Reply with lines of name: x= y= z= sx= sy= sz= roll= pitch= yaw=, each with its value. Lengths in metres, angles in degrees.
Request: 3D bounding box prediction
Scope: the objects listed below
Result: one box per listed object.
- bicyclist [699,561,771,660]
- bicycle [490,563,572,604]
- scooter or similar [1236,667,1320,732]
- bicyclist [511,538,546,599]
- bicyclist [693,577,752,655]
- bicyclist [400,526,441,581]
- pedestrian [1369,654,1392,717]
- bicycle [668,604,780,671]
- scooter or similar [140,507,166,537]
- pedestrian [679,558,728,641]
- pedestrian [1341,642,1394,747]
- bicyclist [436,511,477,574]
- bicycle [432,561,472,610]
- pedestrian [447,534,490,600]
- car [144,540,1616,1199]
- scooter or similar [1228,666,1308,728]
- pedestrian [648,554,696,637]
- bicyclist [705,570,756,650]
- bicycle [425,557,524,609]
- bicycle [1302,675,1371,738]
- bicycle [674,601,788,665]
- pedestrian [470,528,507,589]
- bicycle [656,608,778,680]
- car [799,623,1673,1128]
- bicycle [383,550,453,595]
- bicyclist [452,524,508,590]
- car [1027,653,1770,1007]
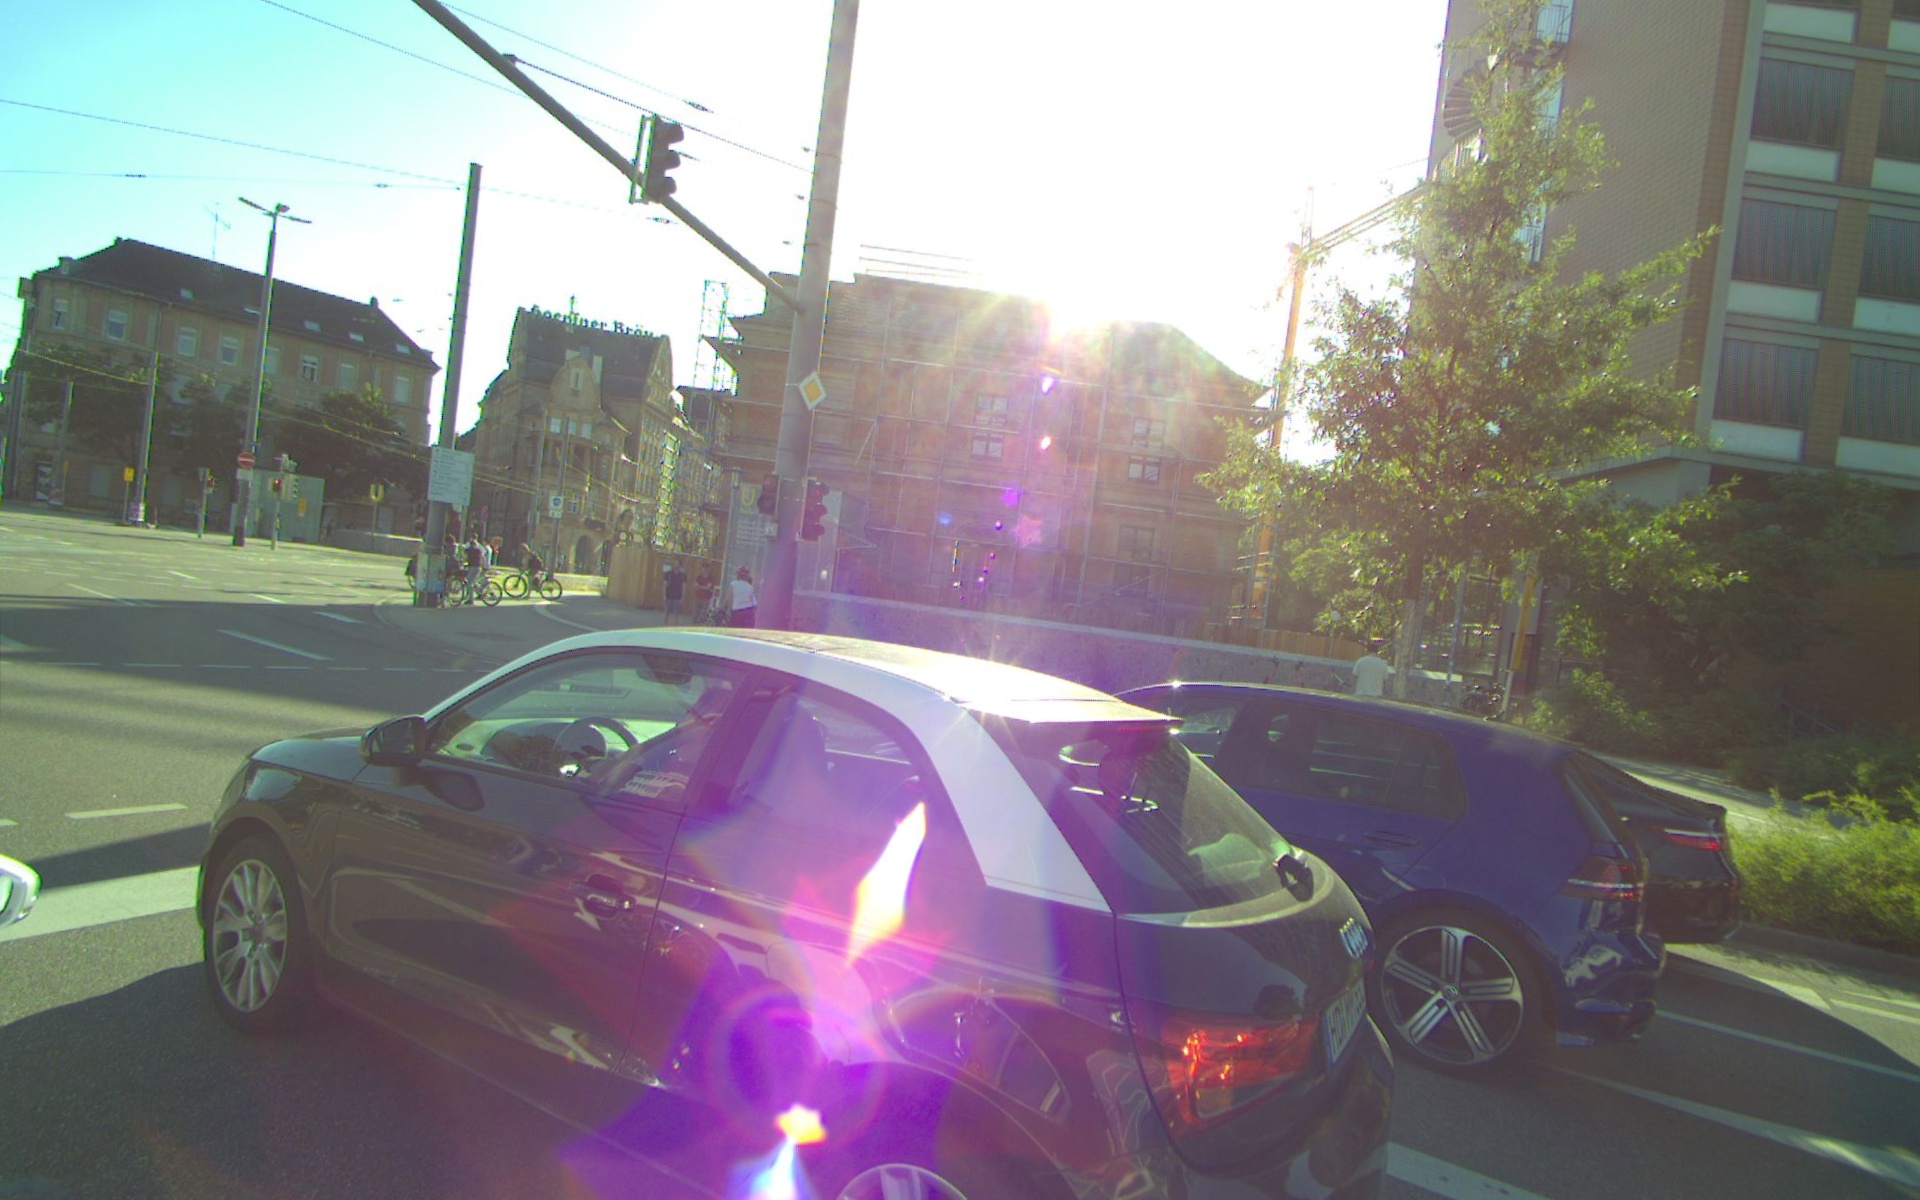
bicyclist: x=-3.831 y=0.188 z=17.179 sx=0.781 sy=1.571 sz=0.668 roll=7 pitch=-1 yaw=27
bicycle: x=-13.460 y=-0.515 z=31.593 sx=2.289 sy=1.063 sz=0.532 roll=5 pitch=2 yaw=-25
scooter or similar: x=5.903 y=1.834 z=18.707 sx=1.348 sy=1.007 sz=0.342 roll=7 pitch=-1 yaw=25
bicyclist: x=-13.520 y=-0.975 z=31.548 sx=0.785 sy=1.800 sz=0.520 roll=8 pitch=-1 yaw=-23
bicyclist: x=-4.388 y=0.299 z=18.605 sx=0.662 sy=1.330 sz=0.617 roll=7 pitch=-1 yaw=27
bicyclist: x=-16.833 y=-1.458 z=31.374 sx=0.930 sy=1.575 sz=0.516 roll=7 pitch=-1 yaw=25
pedestrian: x=12.054 y=2.445 z=28.839 sx=0.369 sy=1.752 sz=0.444 roll=7 pitch=-1 yaw=17
bicycle: x=-4.373 y=0.678 z=18.581 sx=1.999 sy=0.976 sz=0.659 roll=6 pitch=2 yaw=27
scooter or similar: x=-41.961 y=-4.056 z=52.303 sx=0.784 sy=1.392 sz=1.885 roll=8 pitch=-2 yaw=-44
pedestrian: x=-5.952 y=-0.004 z=23.372 sx=0.672 sy=1.828 sz=0.672 roll=7 pitch=-1 yaw=11
pedestrian: x=6.864 y=1.570 z=16.932 sx=0.592 sy=1.662 sz=0.677 roll=7 pitch=3 yaw=29
bicyclist: x=-12.642 y=-1.431 z=25.251 sx=0.703 sy=1.456 sz=0.940 roll=8 pitch=-1 yaw=-30
bicycle: x=-12.763 y=-0.388 z=25.255 sx=0.693 sy=1.061 sz=2.303 roll=9 pitch=-1 yaw=-29
pedestrian: x=-16.371 y=-1.095 z=33.510 sx=0.748 sy=2.037 sz=0.733 roll=7 pitch=-1 yaw=25
car: x=-0.521 y=0.769 z=2.974 sx=3.934 sy=1.420 sz=1.627 roll=6 pitch=-2 yaw=32
scooter or similar: x=5.949 y=1.863 z=19.486 sx=1.346 sy=1.007 sz=0.343 roll=7 pitch=-1 yaw=13
pedestrian: x=-6.667 y=-0.101 z=23.314 sx=0.672 sy=1.830 sz=0.672 roll=7 pitch=2 yaw=11
bicyclist: x=-4.515 y=0.214 z=19.796 sx=0.661 sy=1.471 sz=0.618 roll=7 pitch=-1 yaw=3
bicycle: x=-12.891 y=-0.458 z=26.723 sx=2.276 sy=1.061 sz=0.702 roll=7 pitch=-1 yaw=8
bicycle: x=7.002 y=1.963 z=18.726 sx=0.352 sy=1.015 sz=1.149 roll=8 pitch=-2 yaw=-29
bicycle: x=-4.498 y=0.644 z=19.796 sx=1.997 sy=0.976 sz=0.660 roll=7 pitch=2 yaw=5
pedestrian: x=-16.017 y=-1.408 z=34.197 sx=0.678 sy=1.945 sz=0.649 roll=7 pitch=-1 yaw=25
bicycle: x=-4.186 y=0.757 z=17.313 sx=1.999 sy=0.974 sz=0.660 roll=6 pitch=-1 yaw=27
car: x=1.247 y=1.097 z=5.365 sx=3.934 sy=1.420 sz=1.627 roll=6 pitch=-2 yaw=32
bicycle: x=-16.906 y=-0.858 z=31.363 sx=2.278 sy=1.061 sz=0.536 roll=8 pitch=-1 yaw=24
bicyclist: x=-12.740 y=-1.128 z=26.720 sx=0.929 sy=1.575 sz=0.711 roll=7 pitch=-1 yaw=8
car: x=2.920 y=1.410 z=7.426 sx=4.436 sy=1.420 sz=1.727 roll=6 pitch=-2 yaw=31
